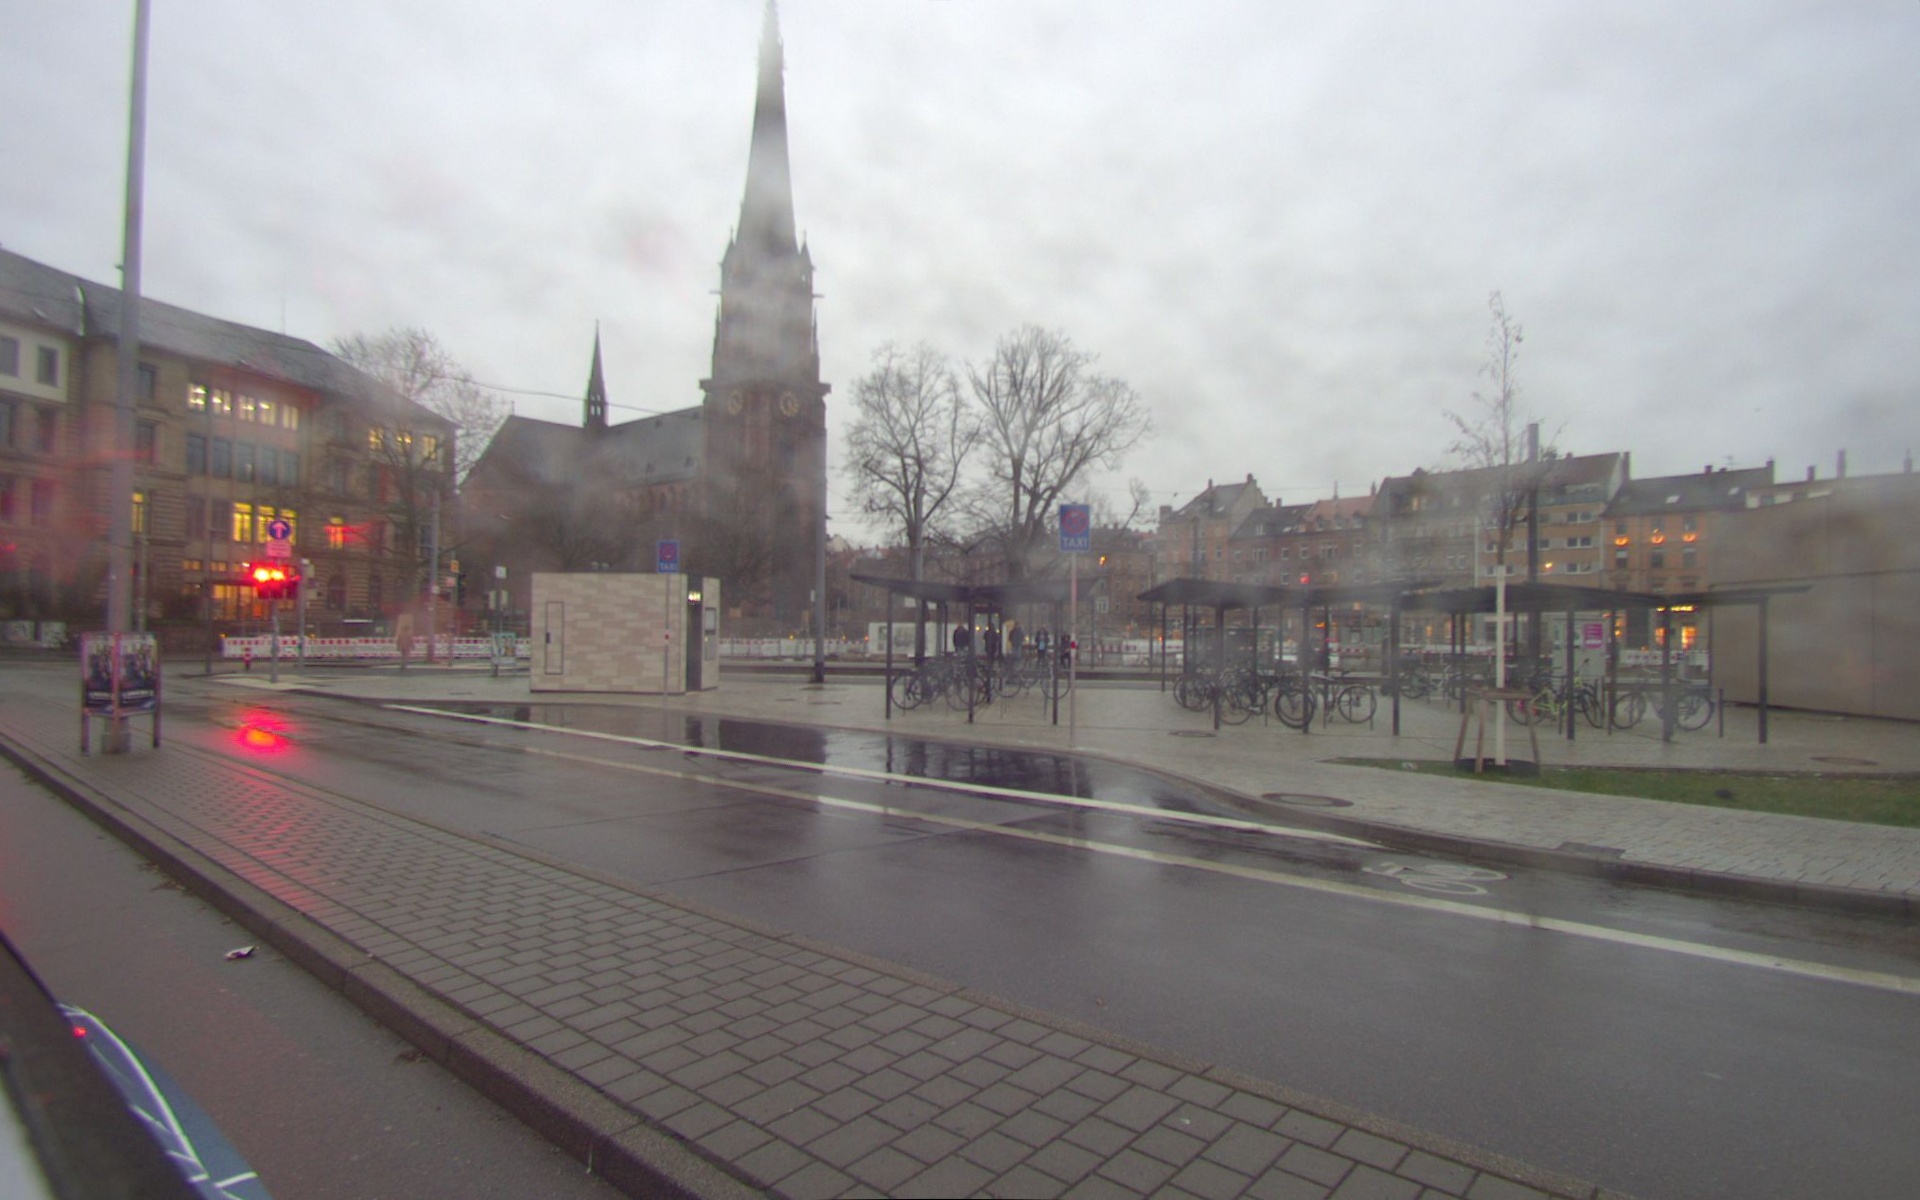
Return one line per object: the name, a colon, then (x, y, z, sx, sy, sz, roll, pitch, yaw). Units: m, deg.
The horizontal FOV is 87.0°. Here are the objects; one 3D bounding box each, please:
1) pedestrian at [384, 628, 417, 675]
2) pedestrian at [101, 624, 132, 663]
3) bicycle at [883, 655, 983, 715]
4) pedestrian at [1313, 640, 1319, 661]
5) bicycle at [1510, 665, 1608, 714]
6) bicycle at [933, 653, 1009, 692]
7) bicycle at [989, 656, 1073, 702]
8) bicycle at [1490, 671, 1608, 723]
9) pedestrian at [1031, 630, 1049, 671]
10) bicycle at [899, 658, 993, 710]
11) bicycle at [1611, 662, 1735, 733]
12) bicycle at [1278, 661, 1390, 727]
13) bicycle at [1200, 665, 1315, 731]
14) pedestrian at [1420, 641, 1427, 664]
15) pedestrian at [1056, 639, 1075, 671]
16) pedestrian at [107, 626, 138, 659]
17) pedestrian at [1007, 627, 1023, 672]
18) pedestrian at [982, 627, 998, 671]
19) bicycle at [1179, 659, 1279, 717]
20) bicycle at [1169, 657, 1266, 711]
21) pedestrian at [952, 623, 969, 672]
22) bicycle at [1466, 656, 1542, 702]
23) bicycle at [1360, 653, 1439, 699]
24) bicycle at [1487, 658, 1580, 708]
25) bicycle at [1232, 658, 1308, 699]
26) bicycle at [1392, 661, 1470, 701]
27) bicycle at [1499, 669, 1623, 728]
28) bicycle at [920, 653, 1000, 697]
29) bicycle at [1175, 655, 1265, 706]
pedestrian: (-20.978, 1.912, 37.954, 0.760, 1.673, 1.211, -1, 0, -14)
pedestrian: (-42.637, 2.186, 51.167, 0.961, 1.915, 0.673, 1, -2, 3)
bicycle: (-0.532, 1.656, 19.870, 1.905, 1.078, 0.473, 1, -1, 11)
pedestrian: (33.916, 4.786, 96.452, 0.386, 2.029, 0.370, -2, -4, 41)
bicycle: (12.906, 1.922, 21.833, 1.751, 0.963, 0.473, 1, -1, 11)
bicycle: (0.277, 1.870, 26.129, 1.905, 0.917, 0.473, 1, -1, 11)
bicycle: (1.645, 1.824, 23.426, 1.905, 0.993, 0.473, 1, -1, 11)
bicycle: (11.373, 1.865, 19.574, 1.905, 0.898, 0.473, 1, -1, 11)
pedestrian: (3.041, 1.913, 38.335, 0.580, 1.513, 0.675, -1, 0, -1)
bicycle: (-0.281, 1.736, 21.107, 1.905, 0.993, 0.473, 1, -1, 11)
bicycle: (12.695, 1.727, 18.048, 1.731, 1.165, 0.617, 1, -1, 2)
bicycle: (6.951, 1.737, 18.869, 1.905, 1.129, 0.473, 1, -1, 11)
bicycle: (5.262, 1.722, 17.959, 1.905, 1.078, 0.473, 1, -1, 11)
pedestrian: (40.521, 4.619, 88.531, 0.436, 2.029, 0.414, 3, -4, -41)
pedestrian: (3.987, 2.074, 38.327, 0.610, 1.165, 0.806, -1, 0, -1)
pedestrian: (-43.954, 2.221, 53.118, 0.919, 1.737, 0.824, 0, -3, 14)
pedestrian: (2.075, 1.858, 38.116, 0.543, 1.648, 0.571, -1, 0, -1)
pedestrian: (1.155, 1.861, 38.654, 0.556, 1.664, 0.540, -1, 0, -1)
bicycle: (5.438, 1.776, 20.550, 1.905, 1.078, 0.473, 1, -1, 11)
bicycle: (5.437, 1.775, 21.403, 1.899, 1.078, 0.474, 1, -1, 2)
pedestrian: (0.011, 1.804, 38.581, 0.619, 1.808, 0.672, -1, 0, -1)
bicycle: (13.239, 1.919, 24.666, 1.551, 1.044, 0.521, 1, -1, 1)
bicycle: (11.190, 1.927, 25.804, 1.780, 1.116, 0.473, 1, -1, 11)
bicycle: (13.259, 1.911, 23.419, 1.810, 1.081, 0.474, 1, -1, 8)
bicycle: (7.668, 1.944, 25.073, 1.729, 0.946, 0.474, 1, -1, 7)
bicycle: (11.627, 1.994, 24.994, 1.672, 0.898, 0.474, 1, -1, 5)
bicycle: (11.132, 1.817, 18.786, 1.905, 0.983, 0.473, 1, -1, 11)
bicycle: (-0.009, 1.831, 24.872, 1.905, 0.993, 0.473, 1, -1, 11)
bicycle: (5.855, 1.811, 22.852, 1.905, 1.078, 0.473, 1, -1, 11)
